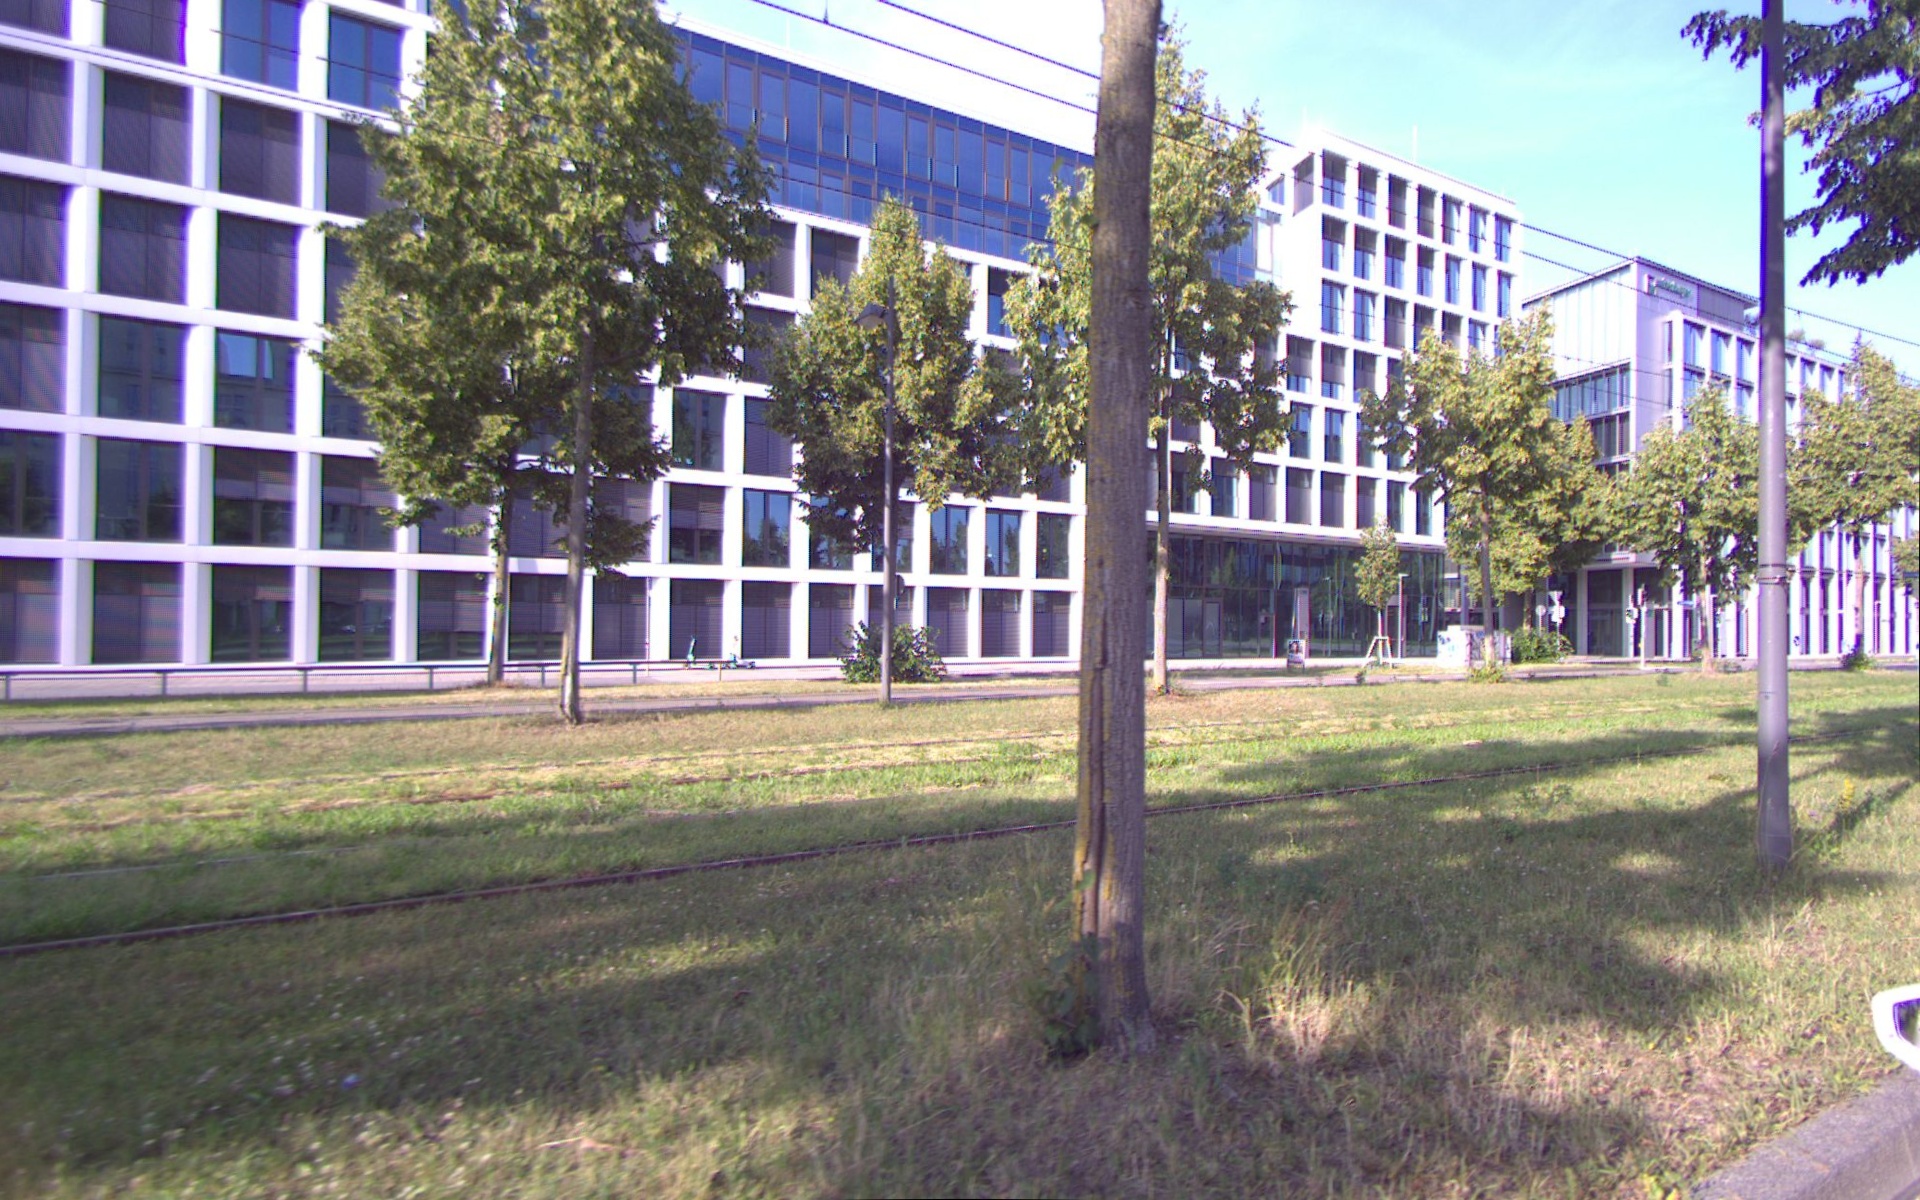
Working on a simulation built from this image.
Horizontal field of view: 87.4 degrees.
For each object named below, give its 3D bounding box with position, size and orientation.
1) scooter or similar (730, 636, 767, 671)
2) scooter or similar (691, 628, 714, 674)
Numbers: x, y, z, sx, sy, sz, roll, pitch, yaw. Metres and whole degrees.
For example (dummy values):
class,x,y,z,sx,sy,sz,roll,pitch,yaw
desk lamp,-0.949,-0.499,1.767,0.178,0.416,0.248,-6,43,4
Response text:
class,x,y,z,sx,sy,sz,roll,pitch,yaw
scooter or similar,-7.755,1.971,36.773,1.278,1.242,0.335,2,0,-17
scooter or similar,-9.118,1.788,35.542,0.409,1.496,1.922,2,0,-25
